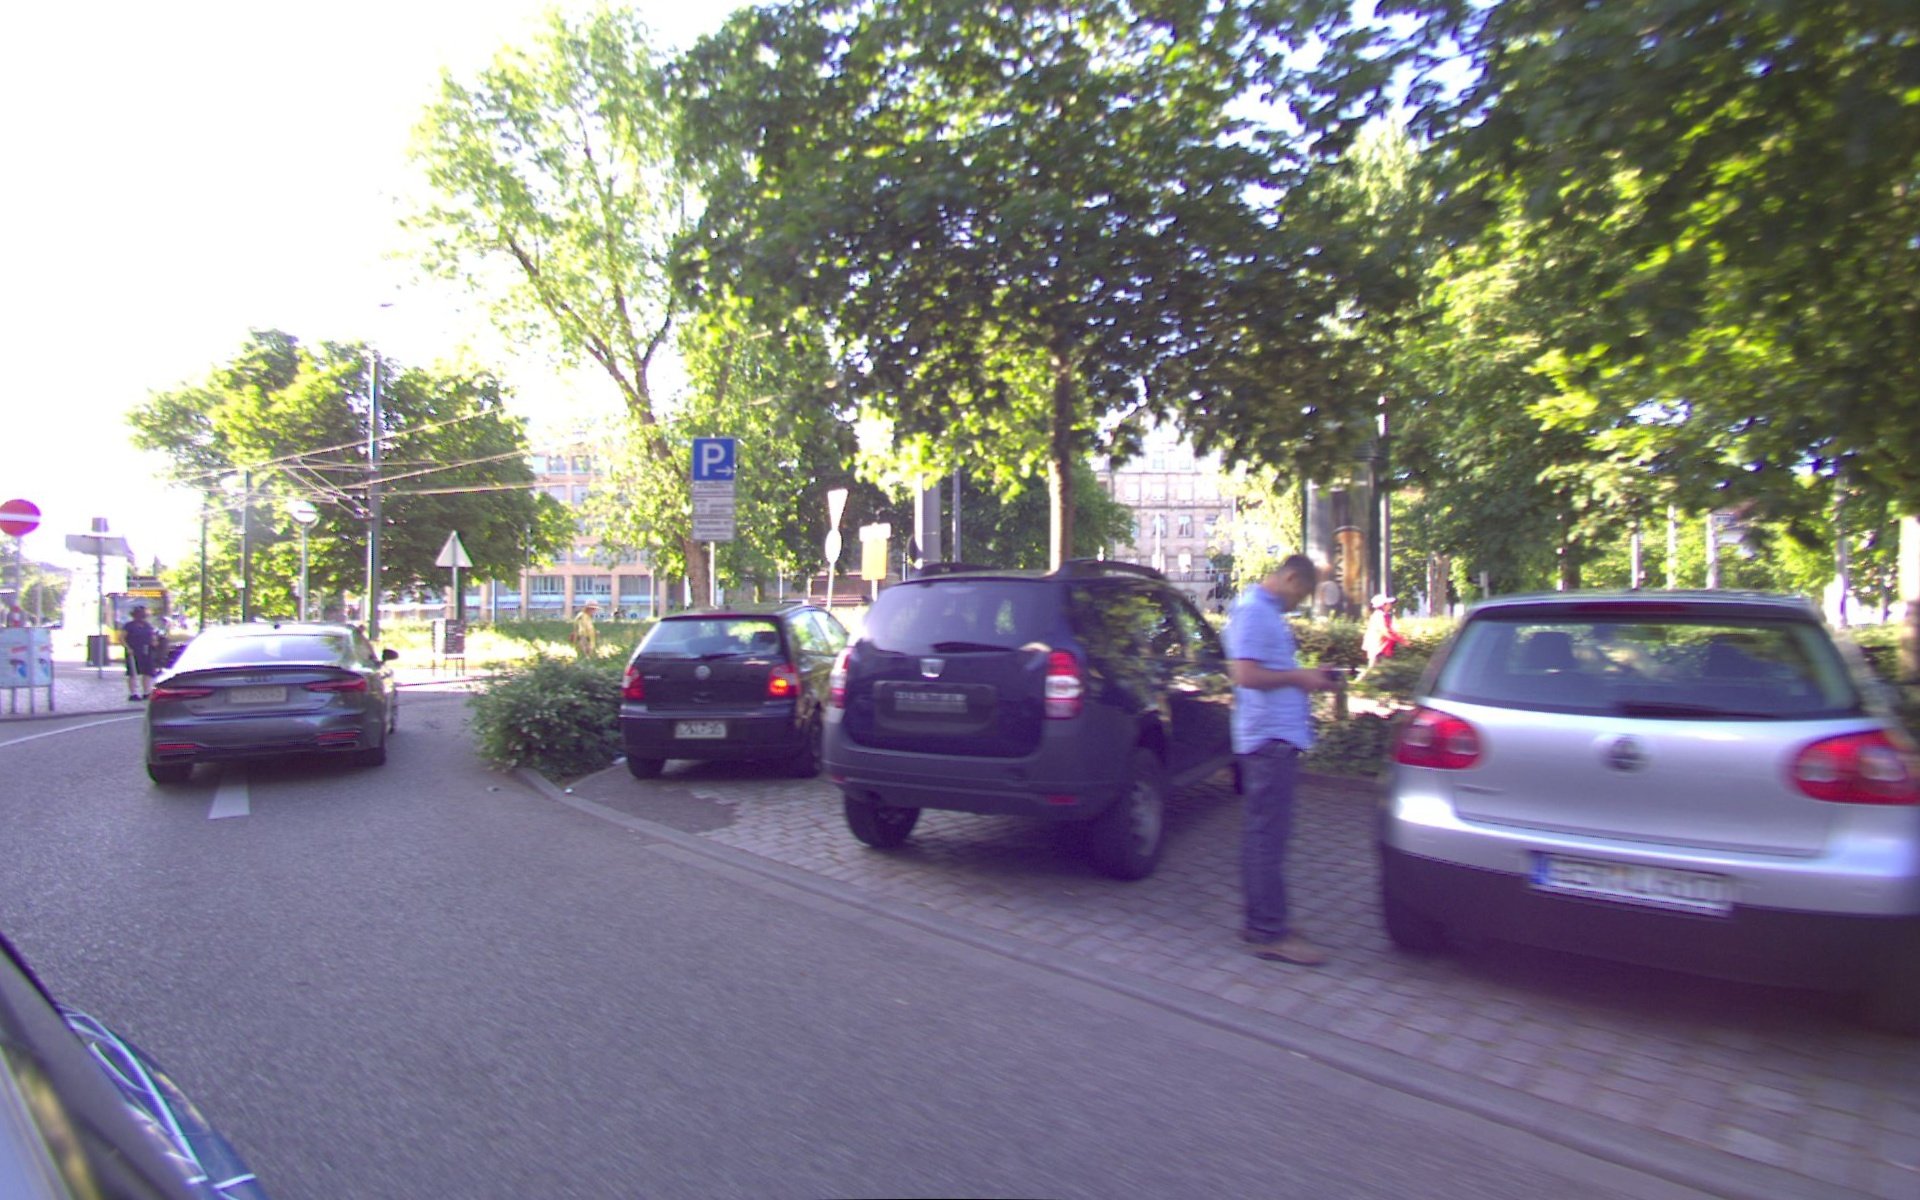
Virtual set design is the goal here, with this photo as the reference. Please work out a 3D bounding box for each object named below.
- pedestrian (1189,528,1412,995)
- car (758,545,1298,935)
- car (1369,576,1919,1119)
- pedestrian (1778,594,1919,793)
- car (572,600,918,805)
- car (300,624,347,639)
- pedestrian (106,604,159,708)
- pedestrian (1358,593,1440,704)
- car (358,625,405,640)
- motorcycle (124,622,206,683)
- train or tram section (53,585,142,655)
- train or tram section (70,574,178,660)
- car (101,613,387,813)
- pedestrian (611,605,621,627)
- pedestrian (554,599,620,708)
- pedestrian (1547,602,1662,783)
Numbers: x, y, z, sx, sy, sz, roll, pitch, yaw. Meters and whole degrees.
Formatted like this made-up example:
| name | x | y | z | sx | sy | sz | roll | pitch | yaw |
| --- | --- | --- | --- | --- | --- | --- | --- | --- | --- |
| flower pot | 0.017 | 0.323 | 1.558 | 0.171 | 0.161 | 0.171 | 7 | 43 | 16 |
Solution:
| name | x | y | z | sx | sy | sz | roll | pitch | yaw |
| --- | --- | --- | --- | --- | --- | --- | --- | --- | --- |
| pedestrian | 1.376 | 0.570 | 4.070 | 0.645 | 1.662 | 0.692 | 0 | 0 | 39 |
| car | 0.769 | 0.599 | 6.590 | 1.992 | 1.680 | 3.960 | -2 | 0 | 29 |
| car | 3.301 | 0.639 | 4.628 | 1.799 | 1.459 | 3.952 | 0 | 1 | 35 |
| pedestrian | 6.074 | 0.597 | 6.876 | 0.699 | 1.269 | 0.639 | 0 | 0 | 31 |
| car | -1.748 | 0.767 | 9.656 | 1.854 | 1.481 | 3.987 | -1 | 1 | 10 |
| car | -70.231 | 3.504 | 111.663 | 4.627 | 1.528 | 1.987 | 0 | 0 | 20 |
| pedestrian | -13.867 | 0.920 | 16.960 | 0.628 | 1.684 | 0.693 | -1 | 0 | -44 |
| pedestrian | 6.282 | 0.670 | 14.530 | 0.949 | 1.533 | 0.767 | -1 | 0 | 15 |
| car | -68.418 | 3.867 | 119.698 | 5.173 | 1.681 | 2.110 | 0 | 0 | 21 |
| motorcycle | -18.788 | 1.219 | 23.916 | 1.749 | 1.384 | 0.743 | 0 | 0 | 22 |
| train or tram section | -50.073 | 1.184 | 58.525 | 2.915 | 3.640 | 13.642 | 0 | -1 | -45 |
| train or tram section | -40.917 | 0.882 | 49.294 | 2.915 | 3.713 | 13.191 | 0 | -1 | -45 |
| car | -7.020 | 0.895 | 10.271 | 1.885 | 1.427 | 4.824 | -1 | 1 | -32 |
| pedestrian | -25.633 | 1.181 | 75.426 | 0.546 | 1.628 | 0.676 | -1 | 0 | -7 |
| pedestrian | -6.003 | 0.848 | 16.311 | 0.794 | 1.712 | 0.669 | 0 | 0 | 4 |
| pedestrian | 4.858 | 0.660 | 7.674 | 0.699 | 1.283 | 0.639 | 0 | 0 | 31 |
